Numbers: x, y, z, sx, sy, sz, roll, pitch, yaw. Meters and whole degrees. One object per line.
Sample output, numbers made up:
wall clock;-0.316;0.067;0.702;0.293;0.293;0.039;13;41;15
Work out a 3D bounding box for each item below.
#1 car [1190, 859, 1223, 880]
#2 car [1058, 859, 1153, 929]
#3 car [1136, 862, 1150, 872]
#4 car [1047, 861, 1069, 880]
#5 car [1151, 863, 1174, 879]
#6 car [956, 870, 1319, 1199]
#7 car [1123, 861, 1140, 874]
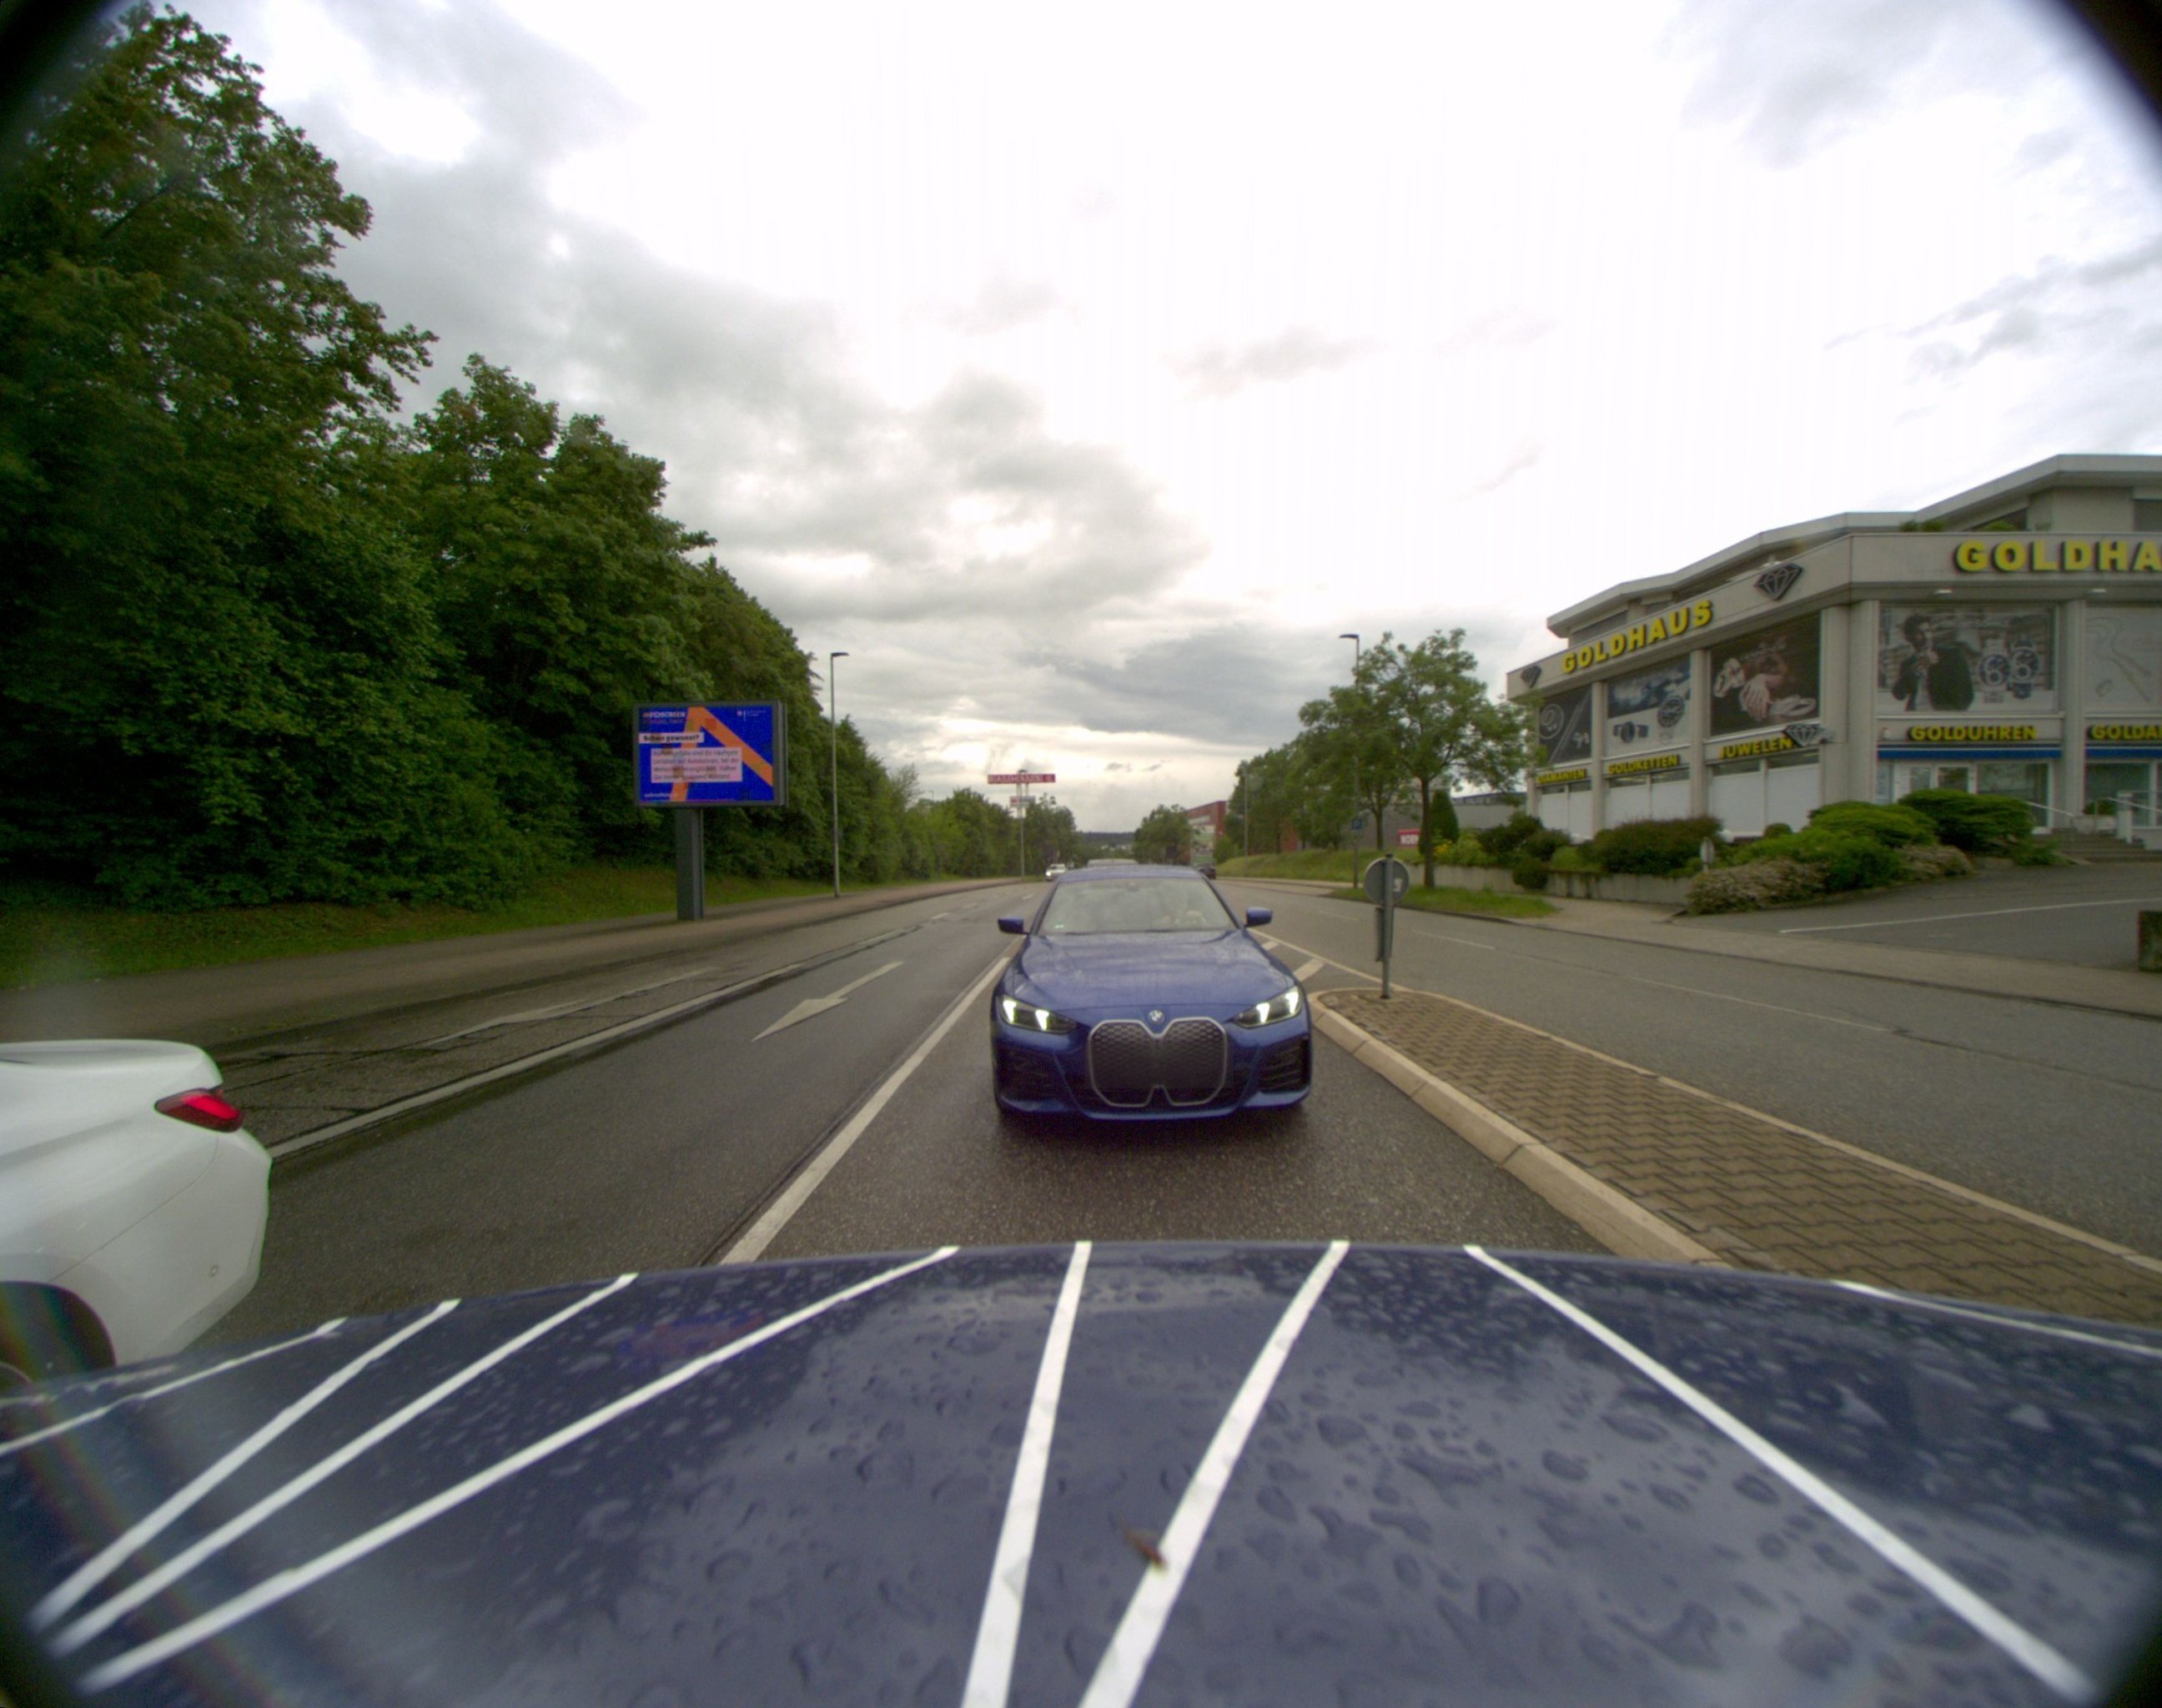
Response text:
car;11.556;1.445;70.129;2.350;1.879;4.545;0;-2;1
car;0.630;0.871;18.482;1.998;1.455;4.369;-2;0;3
car;10.153;2.197;124.043;1.998;1.586;4.001;0;-2;1
car;-2.198;1.591;73.857;1.998;1.717;4.316;-1;0;1
car;8.594;1.782;80.224;1.998;1.586;4.001;0;-2;1
car;0.258;0.956;6.117;1.784;1.448;4.596;-2;1;-1
car;6.480;1.738;97.320;1.998;1.586;4.001;0;-2;1
